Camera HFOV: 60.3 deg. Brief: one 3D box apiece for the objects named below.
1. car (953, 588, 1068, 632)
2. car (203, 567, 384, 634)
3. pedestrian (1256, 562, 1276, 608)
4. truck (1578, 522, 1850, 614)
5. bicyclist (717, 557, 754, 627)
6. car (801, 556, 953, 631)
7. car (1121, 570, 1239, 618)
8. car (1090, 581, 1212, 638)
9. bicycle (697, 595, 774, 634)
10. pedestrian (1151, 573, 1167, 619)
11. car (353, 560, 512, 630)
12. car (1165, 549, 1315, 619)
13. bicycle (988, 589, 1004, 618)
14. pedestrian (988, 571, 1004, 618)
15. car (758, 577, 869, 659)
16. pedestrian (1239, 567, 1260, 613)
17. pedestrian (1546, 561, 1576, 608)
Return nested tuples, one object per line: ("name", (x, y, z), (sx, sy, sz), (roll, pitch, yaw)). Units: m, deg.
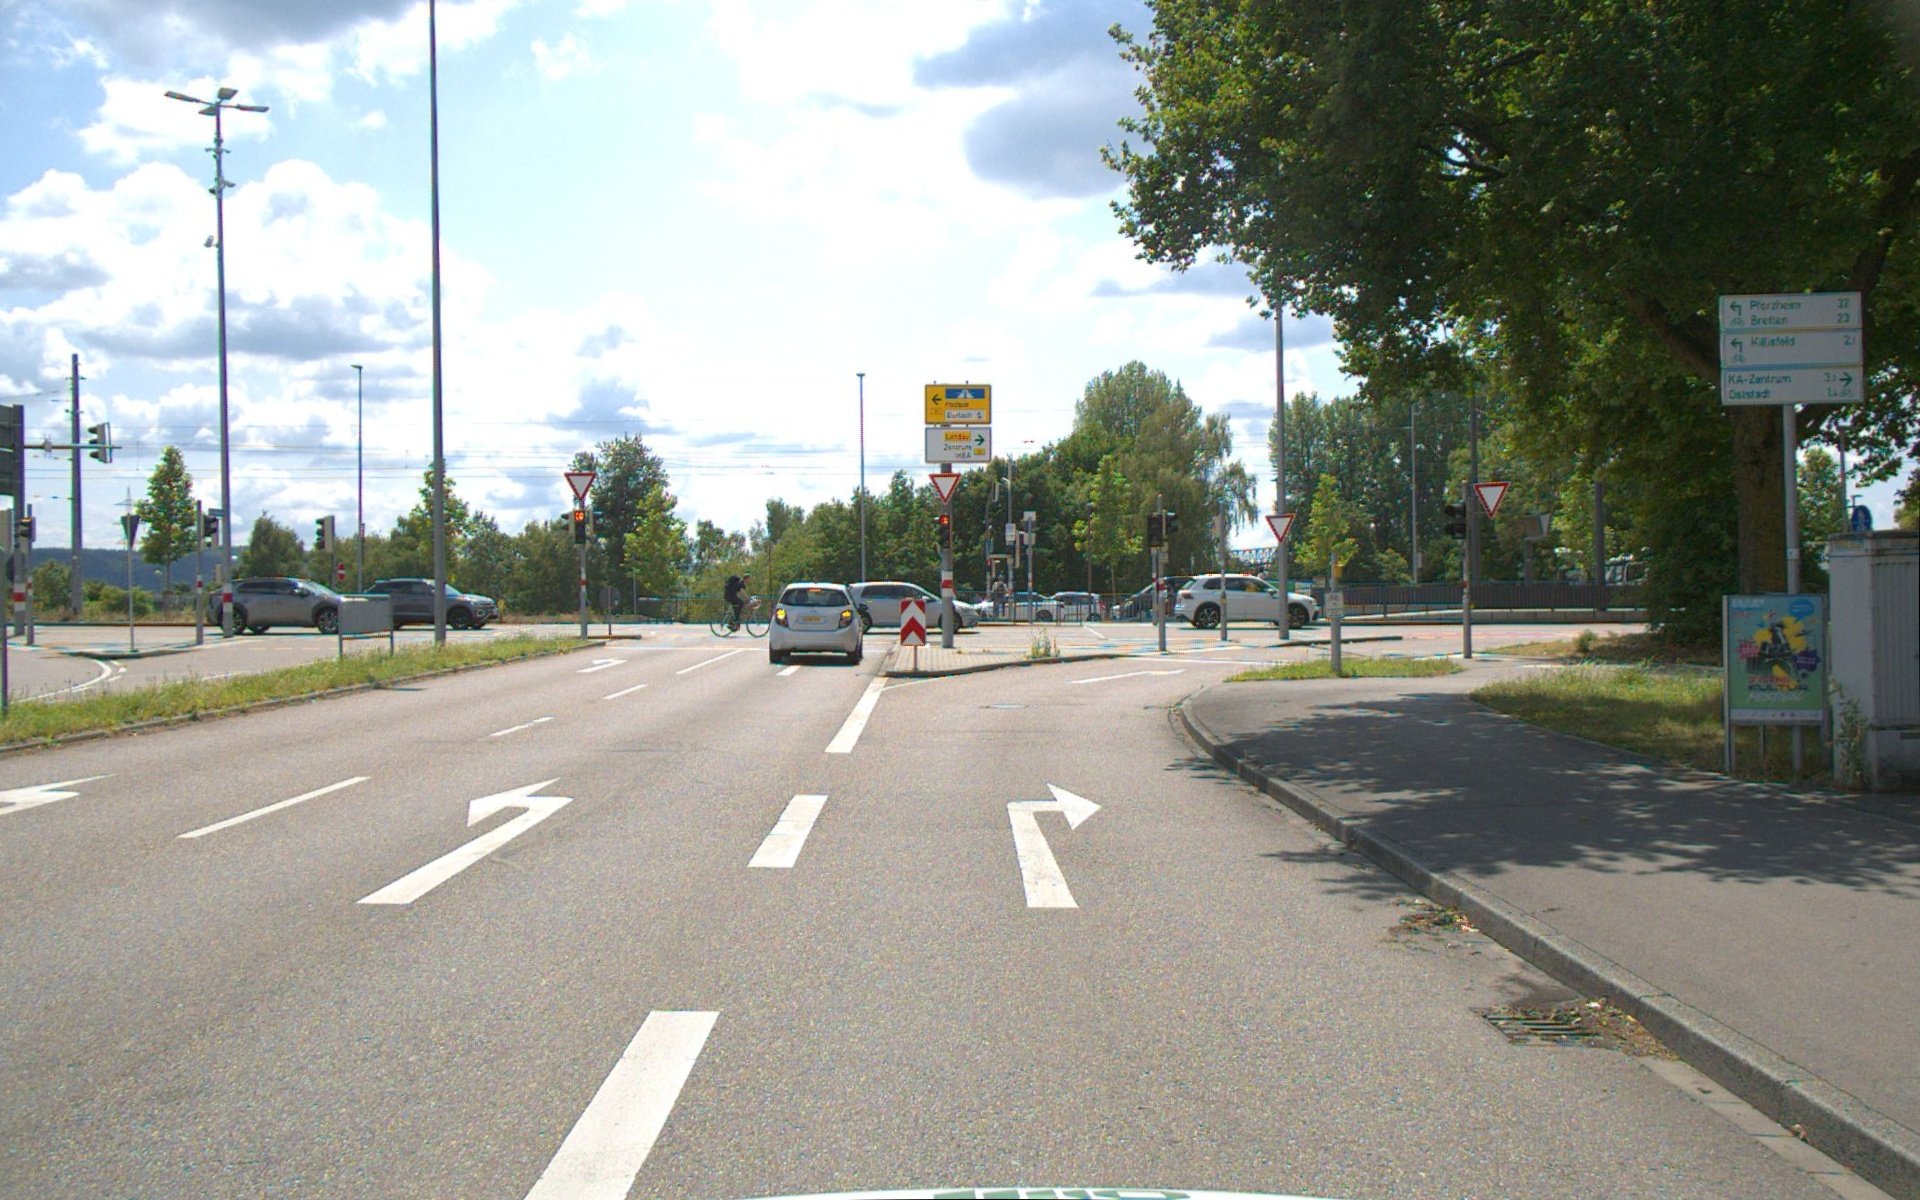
("car", (2.224, 0.440, 73.963), (5.014, 1.839, 1.999), (-1, 0, -2))
("car", (-19.276, 0.012, 47.987), (4.414, 1.704, 1.903), (-2, 0, -2))
("pedestrian", (11.847, -0.583, 64.094), (0.662, 1.778, 0.637), (-1, 2, 1))
("truck", (35.979, -1.539, 79.185), (11.714, 4.176, 2.952), (-1, 0, -1))
("bicyclist", (-6.081, -0.211, 44.806), (0.902, 1.878, 0.611), (-1, 0, -1))
("car", (-2.370, -0.195, 47.933), (4.261, 2.024, 1.999), (-1, 0, -2))
("car", (9.071, -0.254, 68.403), (4.557, 1.852, 1.999), (-1, 0, -1))
("car", (6.589, 0.313, 57.233), (3.907, 1.814, 1.909), (-2, 0, -3))
("bicycle", (-6.077, 0.383, 44.817), (1.976, 1.016, 0.622), (1, 1, -2))
("pedestrian", (7.626, -0.154, 63.428), (0.512, 1.751, 0.730), (-2, 0, 3))
("car", (-16.293, -0.145, 51.272), (4.261, 2.024, 1.999), (-1, 0, -2))
("car", (8.611, -0.491, 51.106), (4.261, 2.024, 1.999), (-1, 0, -2))
("bicycle", (1.415, 0.137, 65.097), (0.606, 1.106, 1.722), (-1, 0, 1))
("pedestrian", (1.412, -0.217, 65.061), (0.598, 1.800, 0.672), (-1, 0, 1))
("car", (-2.844, 0.324, 32.825), (1.855, 1.495, 3.833), (1, 0, 0))
("pedestrian", (11.356, -0.390, 64.834), (0.691, 1.751, 0.601), (-2, 0, 1))
("pedestrian", (24.105, -0.615, 66.373), (0.908, 1.839, 0.736), (-1, 0, -2))
